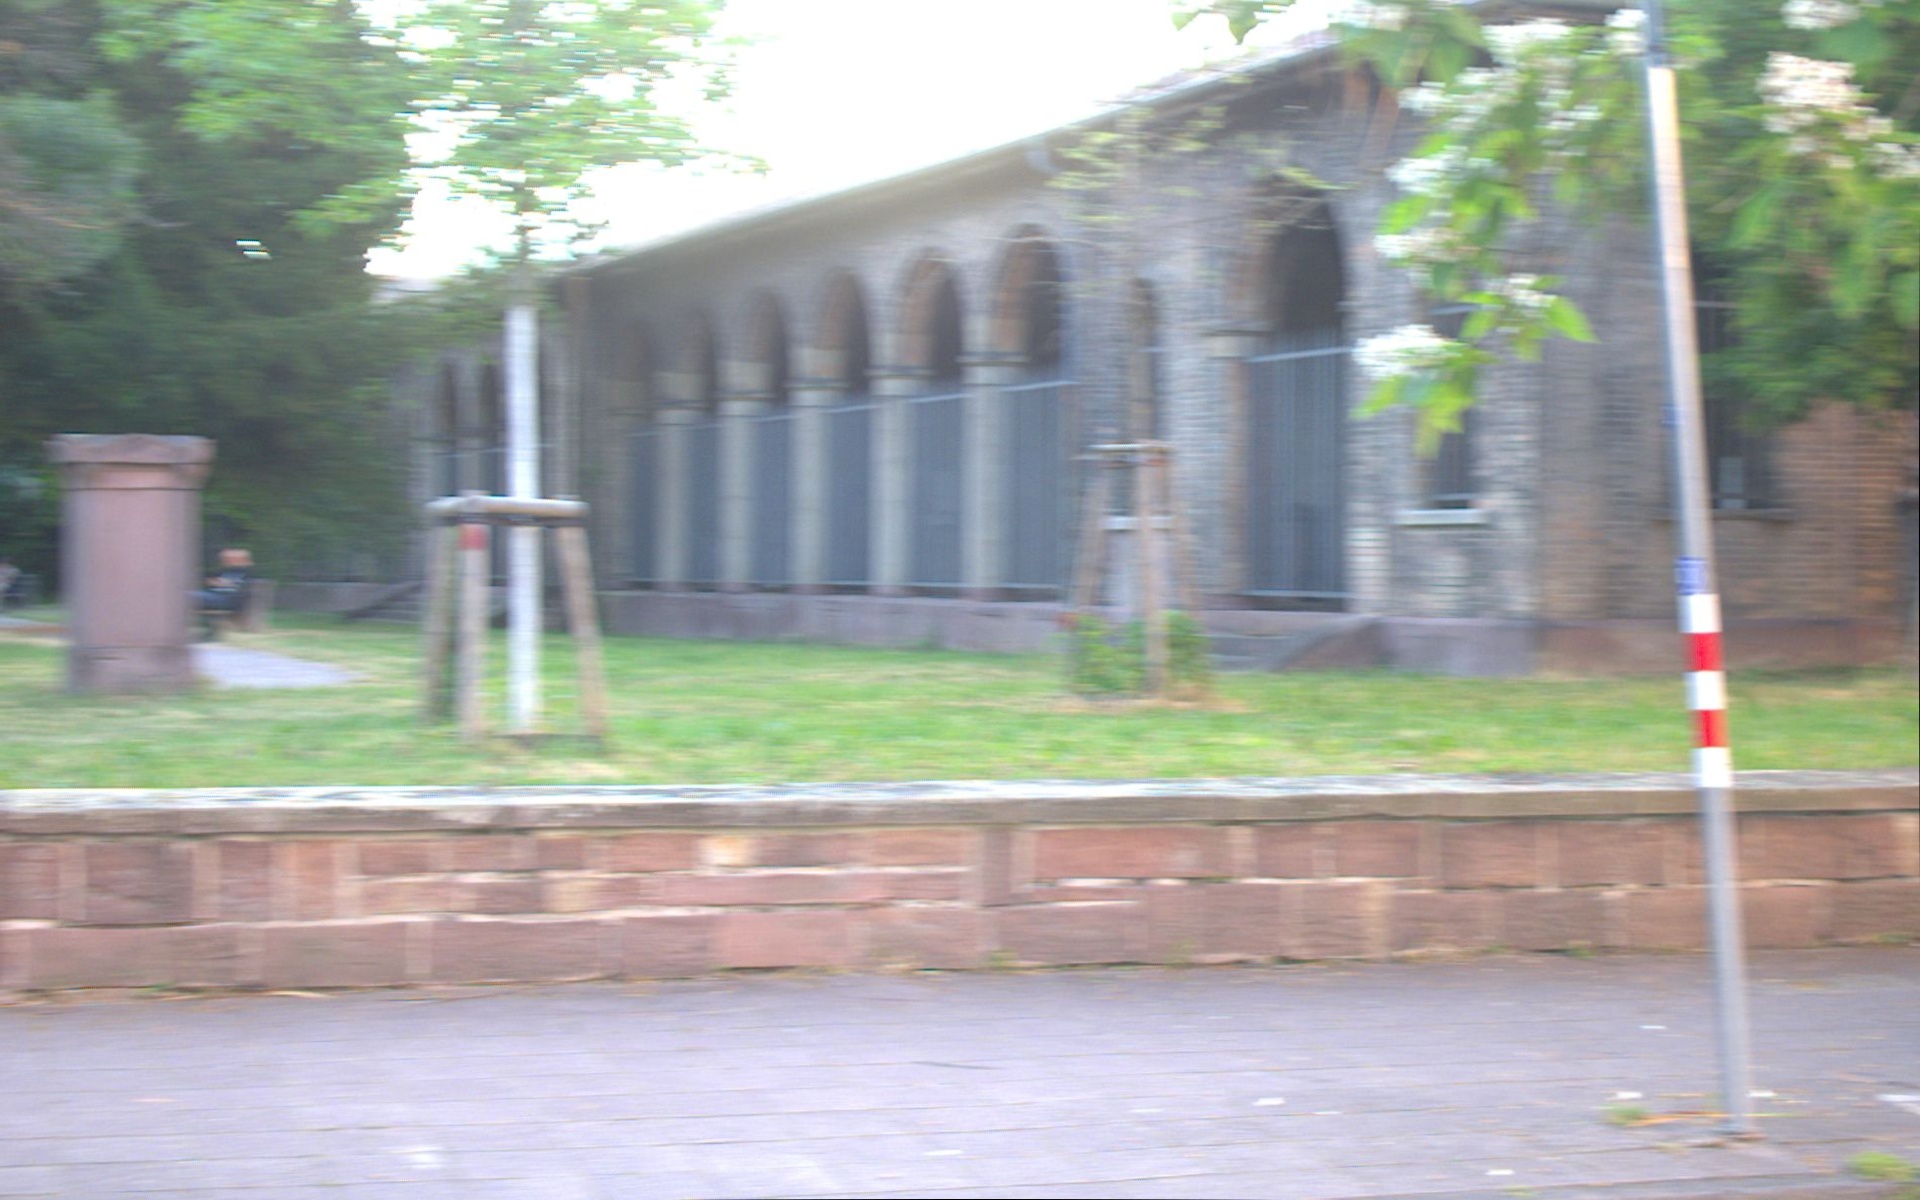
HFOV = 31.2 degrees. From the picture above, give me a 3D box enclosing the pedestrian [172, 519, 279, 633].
[{"bbox_3d":[-9.342,-0.310,43.781,1.277,1.421,1.238,-1,1,-10],"label":"pedestrian"}]
